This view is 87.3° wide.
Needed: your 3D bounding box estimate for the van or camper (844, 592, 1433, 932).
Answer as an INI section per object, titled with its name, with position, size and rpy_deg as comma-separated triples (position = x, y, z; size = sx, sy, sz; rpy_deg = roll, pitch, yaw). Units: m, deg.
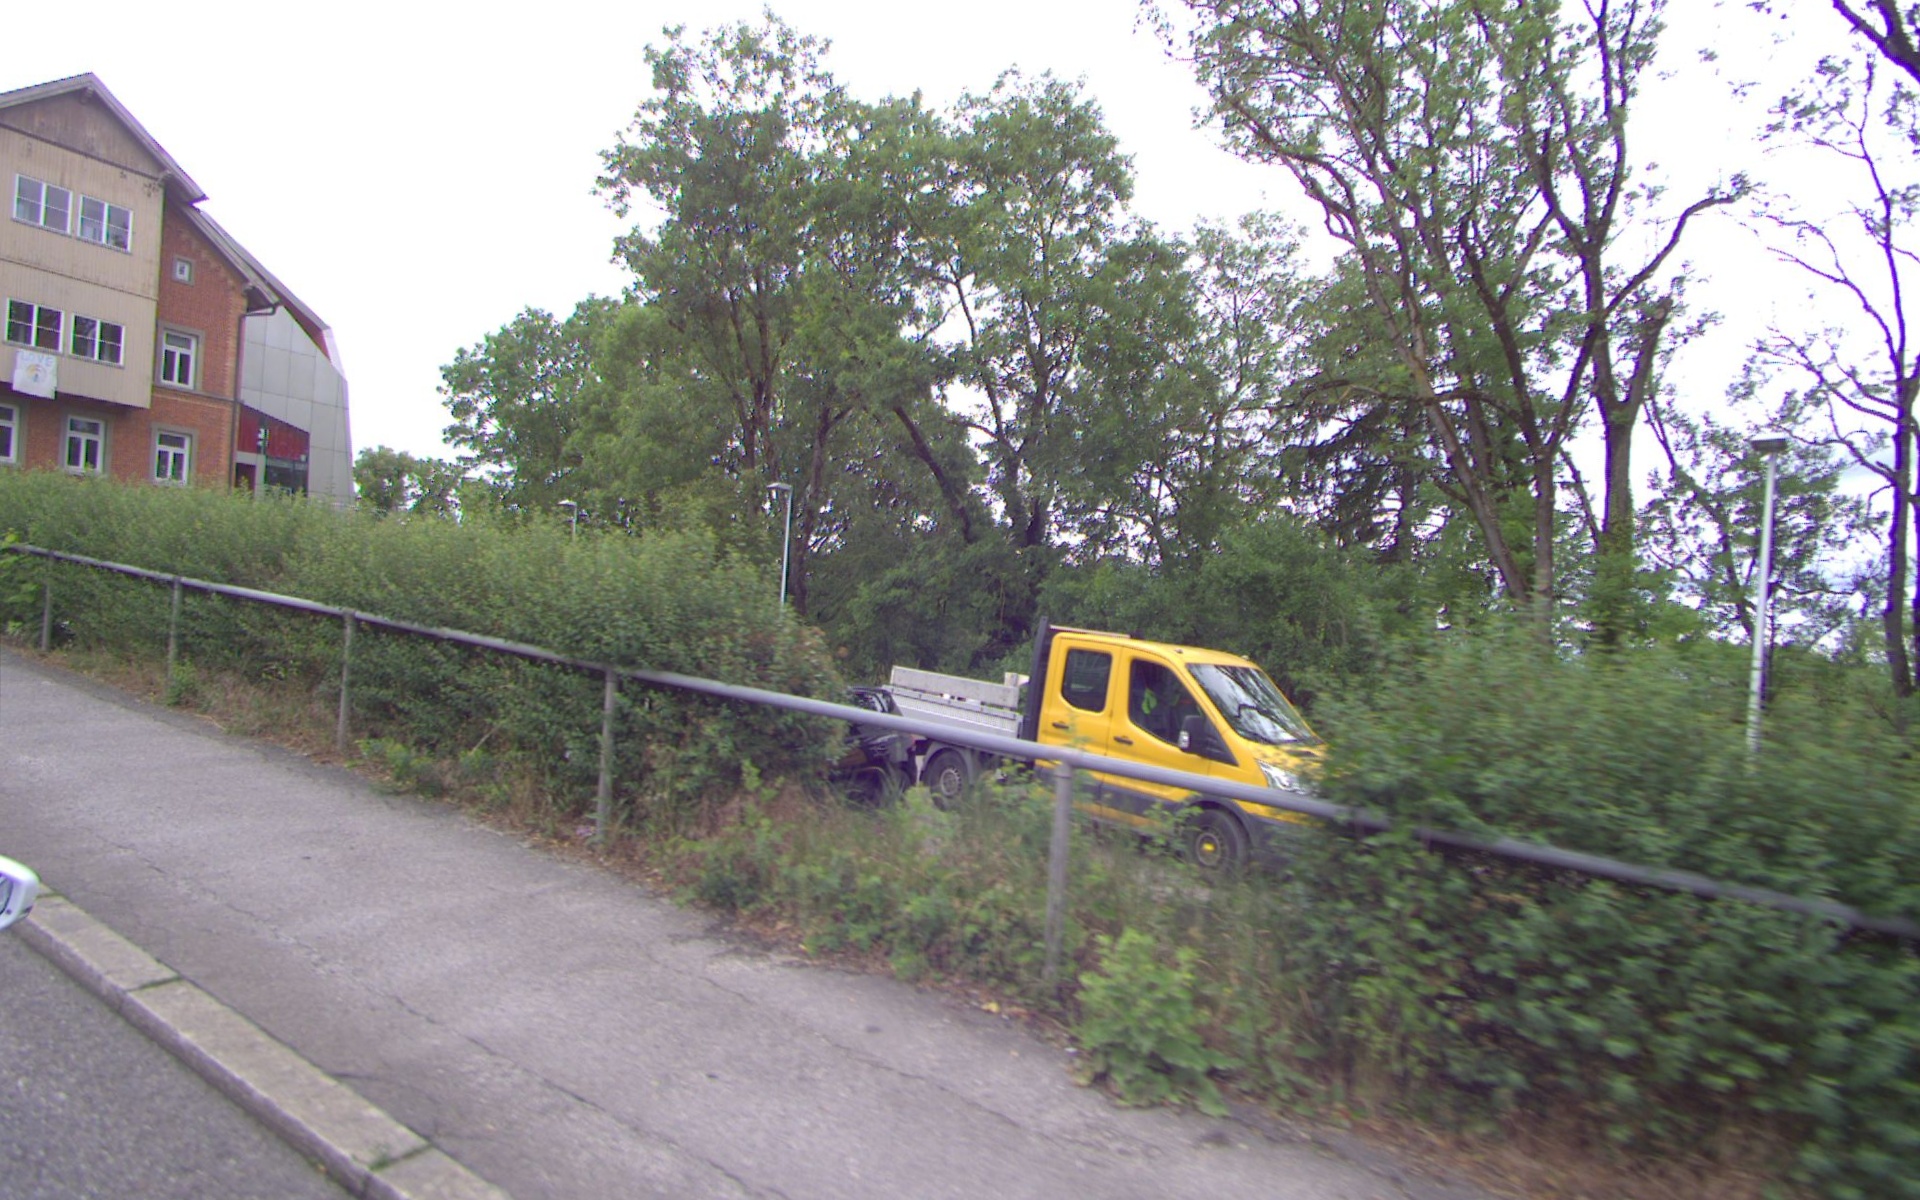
[van or camper]
position = 1.636, 1.417, 11.306
size = 6.093, 2.360, 2.211
rpy_deg = 7, 2, 42
